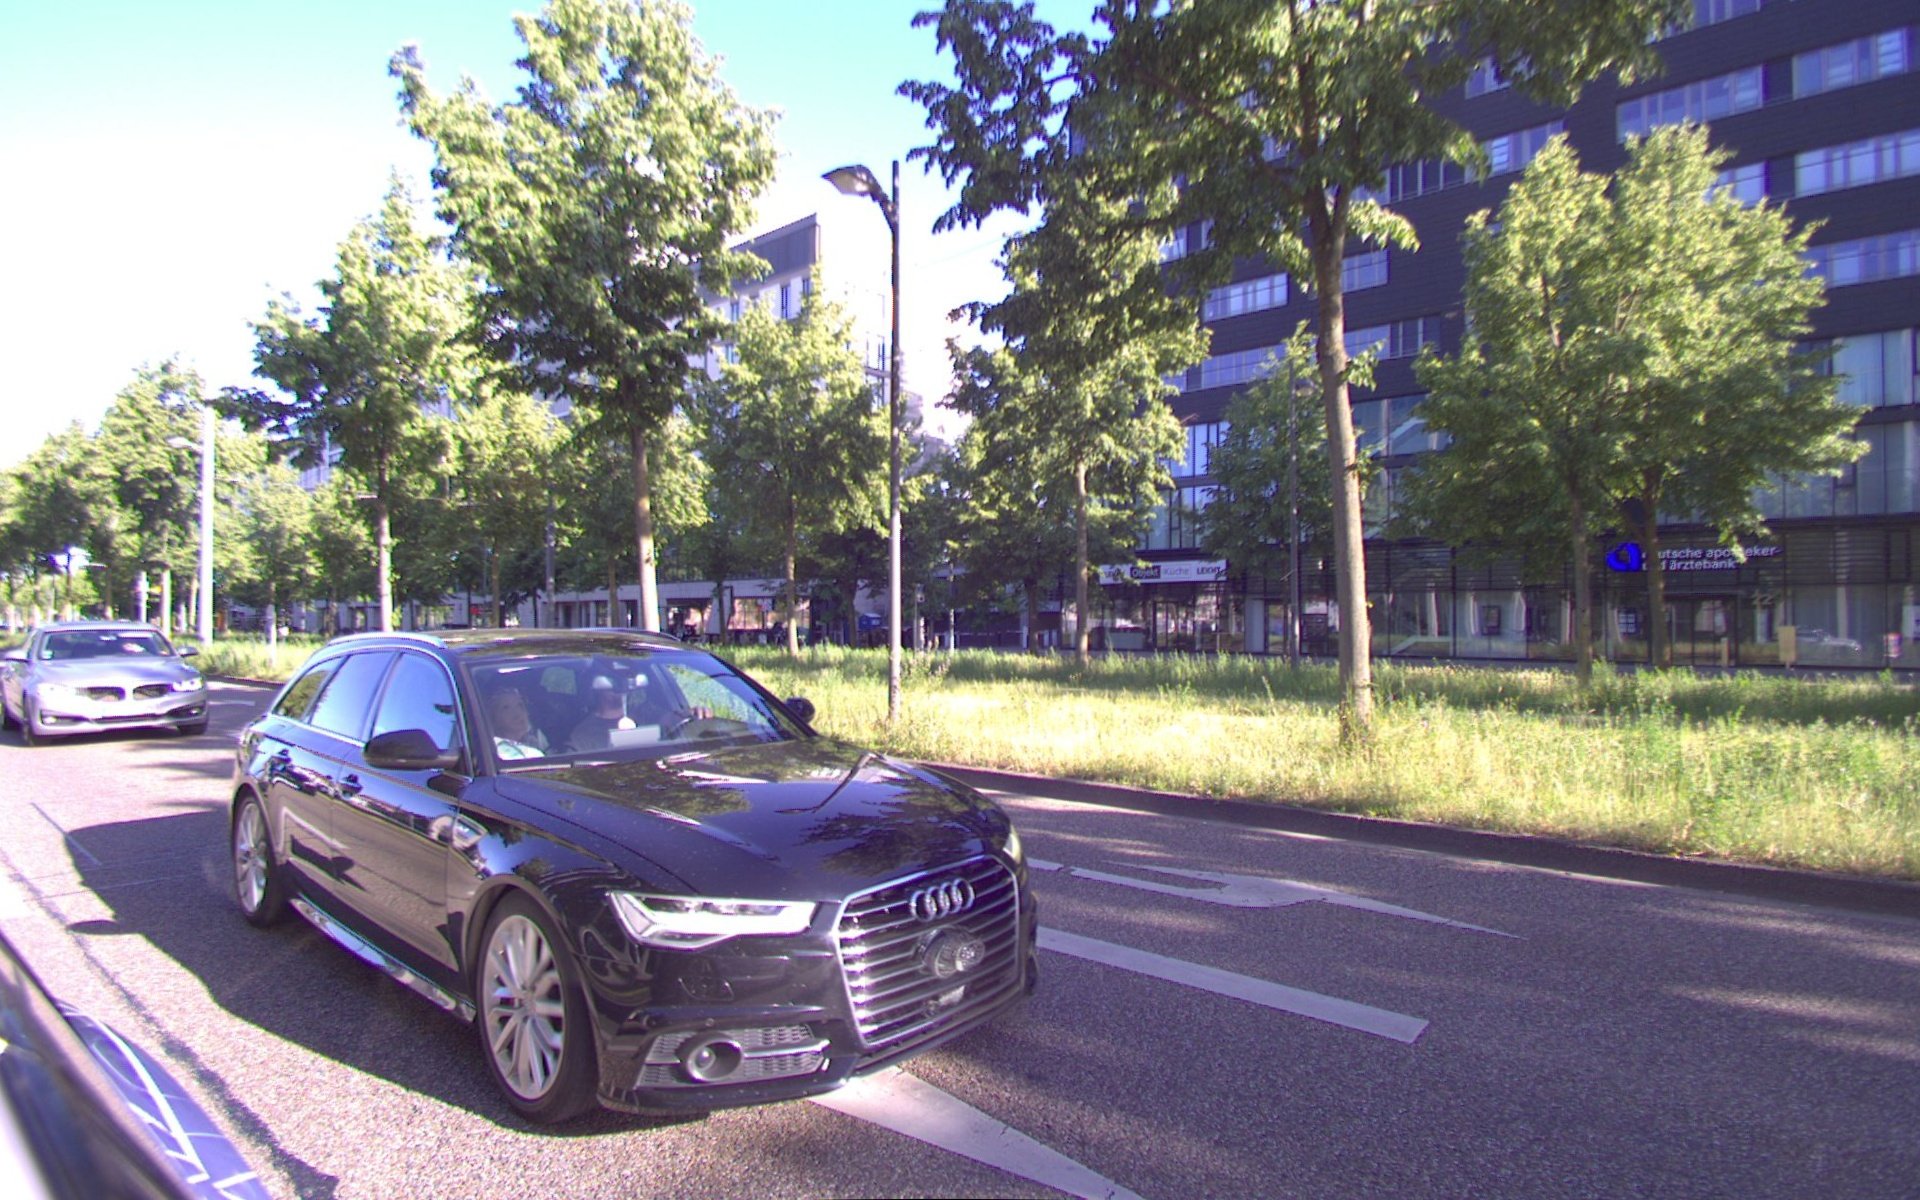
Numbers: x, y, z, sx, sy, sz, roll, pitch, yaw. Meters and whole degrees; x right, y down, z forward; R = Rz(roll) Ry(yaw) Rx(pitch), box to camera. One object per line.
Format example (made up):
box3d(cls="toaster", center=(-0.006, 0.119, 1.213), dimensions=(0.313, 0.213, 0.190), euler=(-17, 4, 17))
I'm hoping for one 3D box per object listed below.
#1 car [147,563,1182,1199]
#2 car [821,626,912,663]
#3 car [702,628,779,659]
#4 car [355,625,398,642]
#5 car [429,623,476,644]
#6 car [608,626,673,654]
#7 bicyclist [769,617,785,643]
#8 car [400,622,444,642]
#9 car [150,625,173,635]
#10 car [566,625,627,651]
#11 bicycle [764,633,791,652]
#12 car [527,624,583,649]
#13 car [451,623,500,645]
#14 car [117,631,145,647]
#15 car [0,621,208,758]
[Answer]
box3d(cls="car", center=(-1.724, 0.720, 4.362), dimensions=(4.963, 1.495, 1.855), euler=(-1, -1, 40))
box3d(cls="car", center=(-4.409, 2.052, 47.300), dimensions=(4.182, 1.610, 1.926), euler=(-1, -2, 41))
box3d(cls="car", center=(-11.770, 2.288, 54.091), dimensions=(4.182, 1.610, 1.926), euler=(-1, -2, 41))
box3d(cls="car", center=(-51.961, 2.974, 90.125), dimensions=(3.995, 1.406, 1.974), euler=(-1, -2, 39))
box3d(cls="car", center=(-39.797, 2.587, 79.370), dimensions=(4.182, 1.610, 1.859), euler=(-1, -2, 41))
box3d(cls="car", center=(-19.327, 2.371, 61.133), dimensions=(4.182, 1.610, 1.859), euler=(-1, -2, 41))
box3d(cls="bicyclist", center=(-10.225, 1.692, 56.641), dimensions=(0.820, 1.435, 0.472), euler=(-1, -2, 41))
box3d(cls="car", center=(-44.255, 2.635, 83.263), dimensions=(4.182, 1.610, 1.859), euler=(-1, -2, 41))
box3d(cls="car", center=(-112.342, 4.263, 142.337), dimensions=(4.001, 1.406, 1.971), euler=(-1, -2, 44))
box3d(cls="car", center=(-23.355, 2.410, 64.955), dimensions=(4.182, 1.610, 1.859), euler=(-1, -2, 41))
box3d(cls="bicycle", center=(-10.206, 2.350, 56.612), dimensions=(1.755, 1.043, 0.472), euler=(-1, -2, 41))
box3d(cls="car", center=(-27.386, 2.455, 68.365), dimensions=(4.182, 1.610, 1.859), euler=(-1, -2, 41))
box3d(cls="car", center=(-36.332, 2.557, 75.866), dimensions=(4.182, 1.610, 1.859), euler=(-1, -2, 41))
box3d(cls="car", center=(-96.049, 4.509, 117.292), dimensions=(3.998, 1.694, 1.870), euler=(-1, -2, 41))
box3d(cls="car", center=(-11.565, 1.026, 13.240), dimensions=(4.558, 1.495, 1.800), euler=(-1, -1, 40))
